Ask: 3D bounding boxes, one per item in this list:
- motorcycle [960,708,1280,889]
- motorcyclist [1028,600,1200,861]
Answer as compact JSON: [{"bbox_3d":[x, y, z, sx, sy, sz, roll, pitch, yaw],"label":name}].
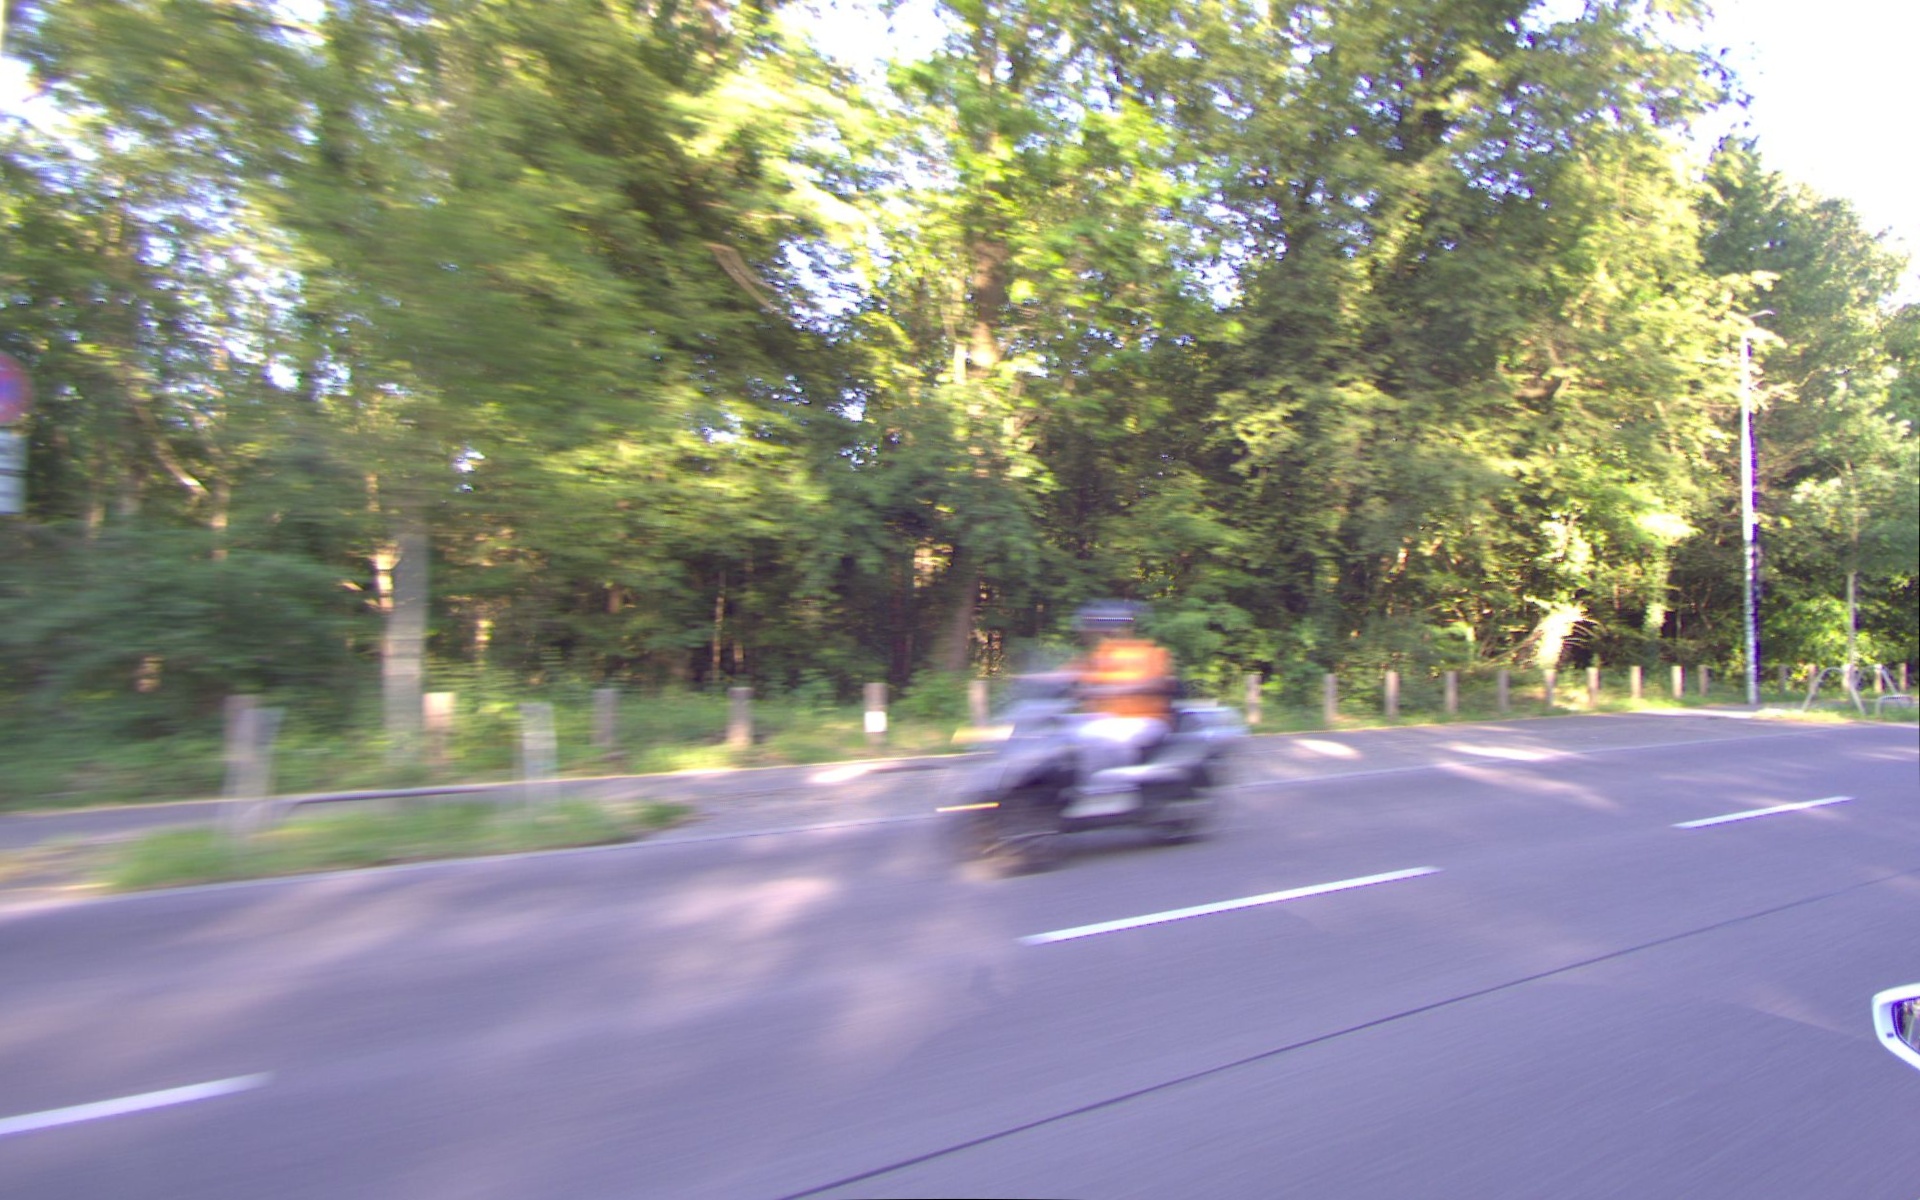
[{"bbox_3d":[1.090,1.224,6.572,2.141,0.916,0.665,1,-2,-30],"label":"motorcycle"},{"bbox_3d":[0.997,0.795,6.519,0.894,1.561,0.653,1,-2,-30],"label":"motorcyclist"}]
